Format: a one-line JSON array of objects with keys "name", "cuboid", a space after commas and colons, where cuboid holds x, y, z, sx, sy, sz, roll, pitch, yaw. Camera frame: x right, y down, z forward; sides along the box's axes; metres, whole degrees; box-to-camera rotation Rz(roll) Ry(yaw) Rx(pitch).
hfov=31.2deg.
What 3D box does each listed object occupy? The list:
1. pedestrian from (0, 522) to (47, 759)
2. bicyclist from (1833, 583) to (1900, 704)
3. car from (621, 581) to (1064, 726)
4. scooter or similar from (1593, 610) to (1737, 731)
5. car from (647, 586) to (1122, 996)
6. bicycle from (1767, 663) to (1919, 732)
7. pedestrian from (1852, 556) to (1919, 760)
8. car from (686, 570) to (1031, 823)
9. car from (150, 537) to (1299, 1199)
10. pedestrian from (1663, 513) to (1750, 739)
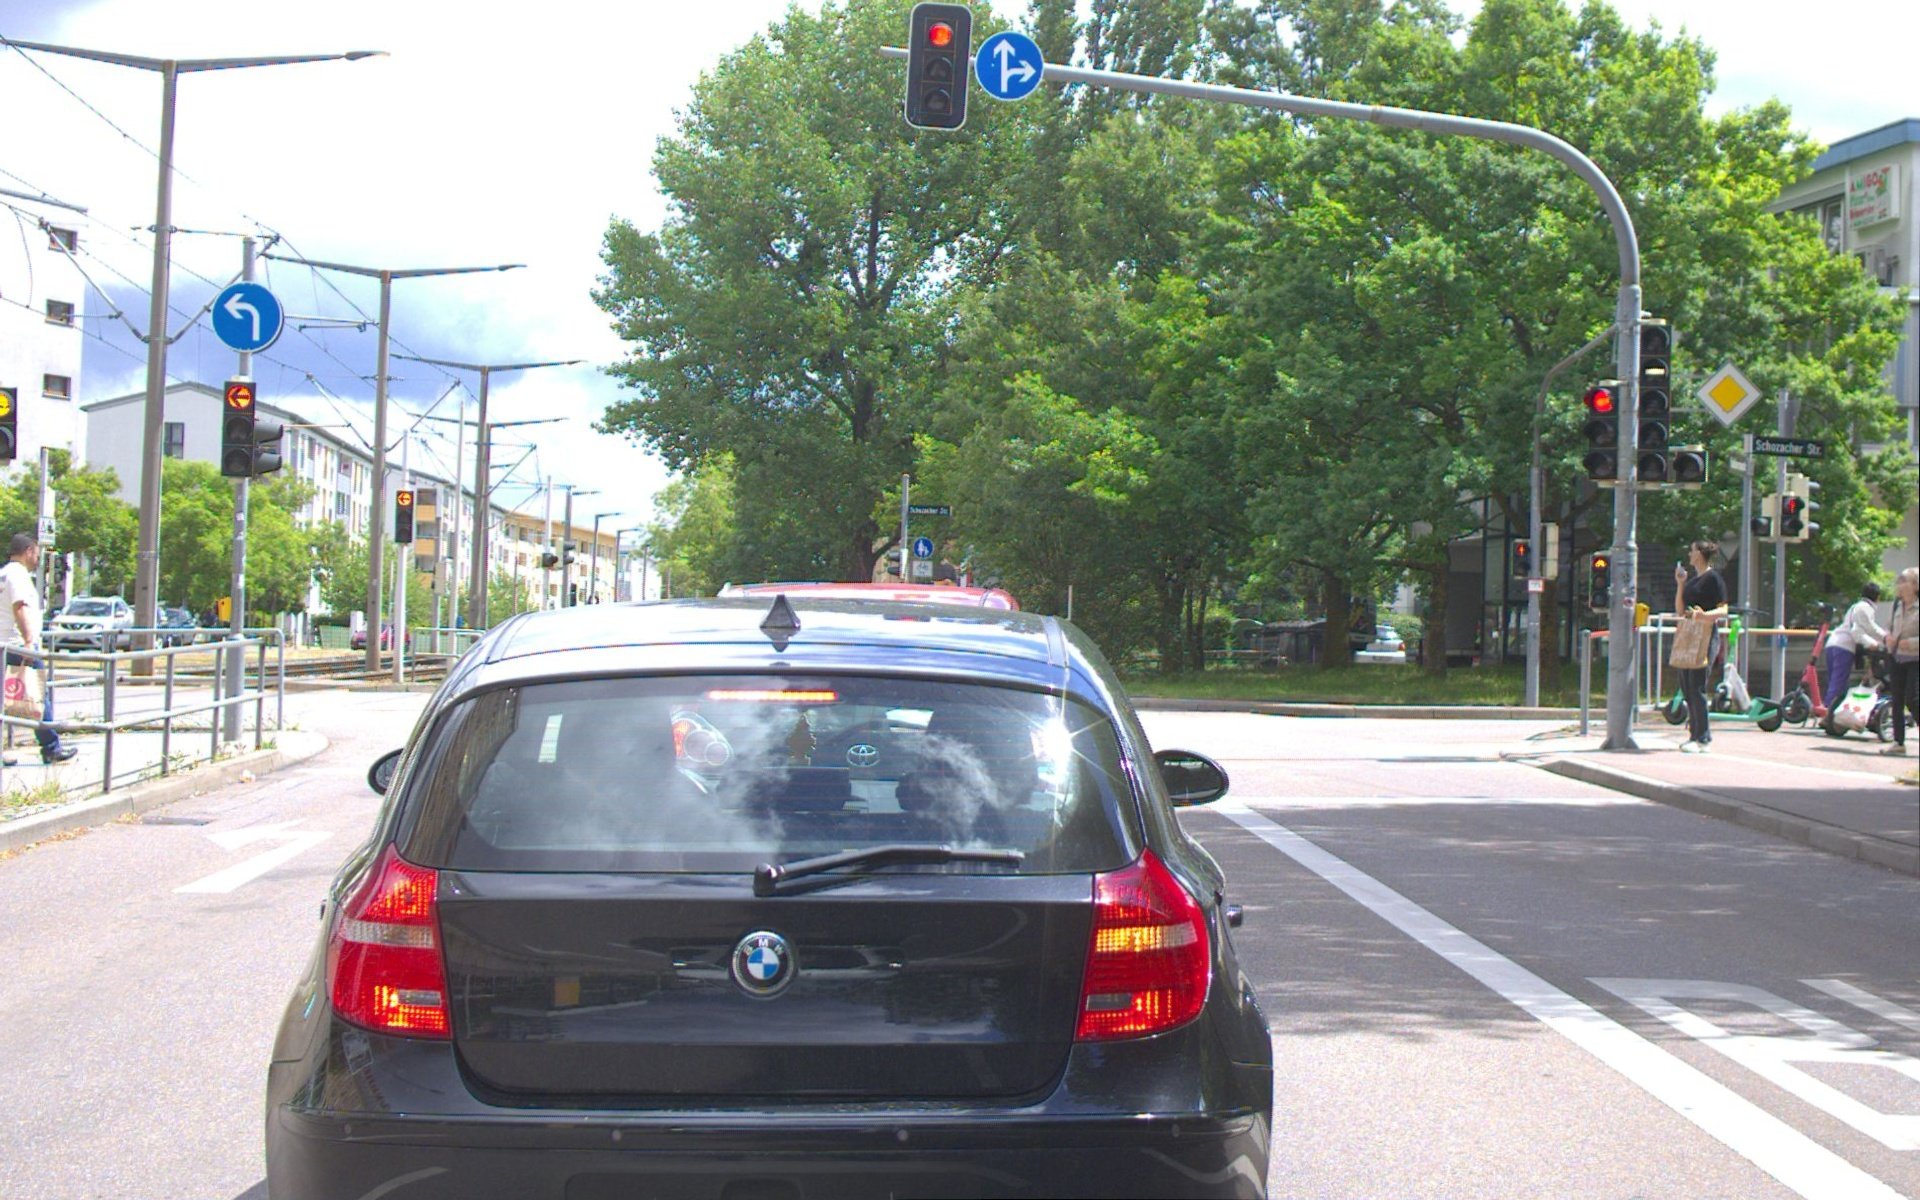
[{"name": "pedestrian", "cuboid": [-7.117, 0.292, 25.421, 0.687, 1.728, 0.688, 0, 0, -14]}, {"name": "bicyclist", "cuboid": [8.734, 0.412, 33.135, 0.501, 1.153, 0.399, 0, 0, -41]}, {"name": "car", "cuboid": [-1.311, 0.577, 38.256, 4.789, 1.517, 2.000, 0, 0, -3]}, {"name": "scooter or similar", "cuboid": [7.236, 0.725, 35.284, 1.258, 1.060, 0.549, 8, 1, -31]}, {"name": "car", "cuboid": [-0.236, 0.655, 13.644, 1.638, 1.395, 3.420, 1, 0, 1]}, {"name": "bicycle", "cuboid": [8.648, 0.936, 33.290, 0.533, 0.608, 1.590, 0, 1, -43]}, {"name": "pedestrian", "cuboid": [8.604, 0.534, 31.256, 0.636, 1.760, 0.518, 9, -3, 5]}, {"name": "car", "cuboid": [-0.530, 0.530, 21.790, 1.900, 1.417, 4.539, 1, 0, 2]}, {"name": "car", "cuboid": [-0.305, 0.653, 6.810, 1.700, 1.395, 3.419, 1, -1, 2]}, {"name": "pedestrian", "cuboid": [6.233, 0.212, 28.725, 0.636, 1.870, 0.518, 1, 0, 5]}]
